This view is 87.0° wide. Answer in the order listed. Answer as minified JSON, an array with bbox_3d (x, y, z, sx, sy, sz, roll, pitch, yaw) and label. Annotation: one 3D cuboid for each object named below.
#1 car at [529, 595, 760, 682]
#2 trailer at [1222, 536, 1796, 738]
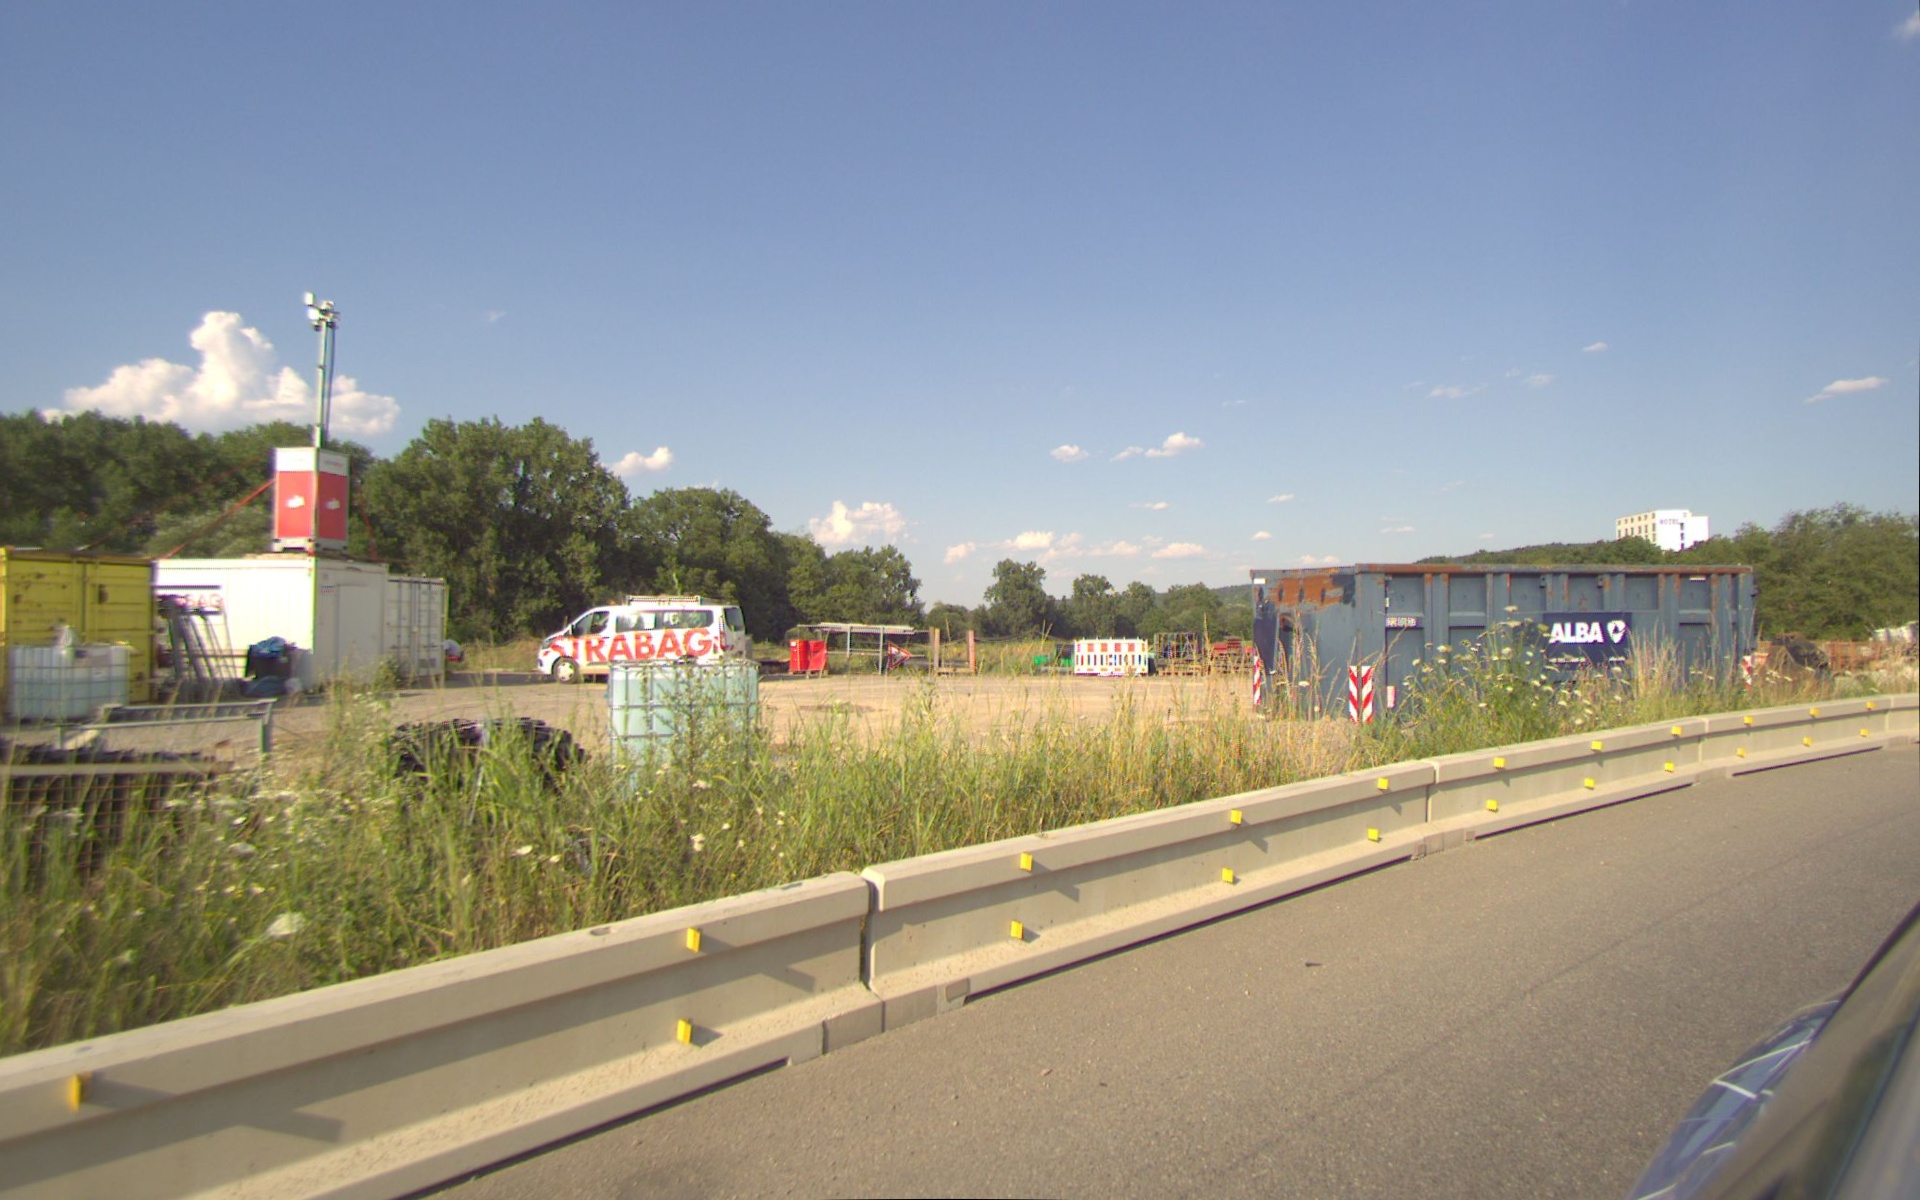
[{"bbox_3d":[-8.107,0.983,26.347,5.227,2.105,2.483,-1,-1,6],"label":"car"},{"bbox_3d":[7.763,0.444,14.609,7.076,2.445,3.019,-1,-2,-15],"label":"trailer"}]
